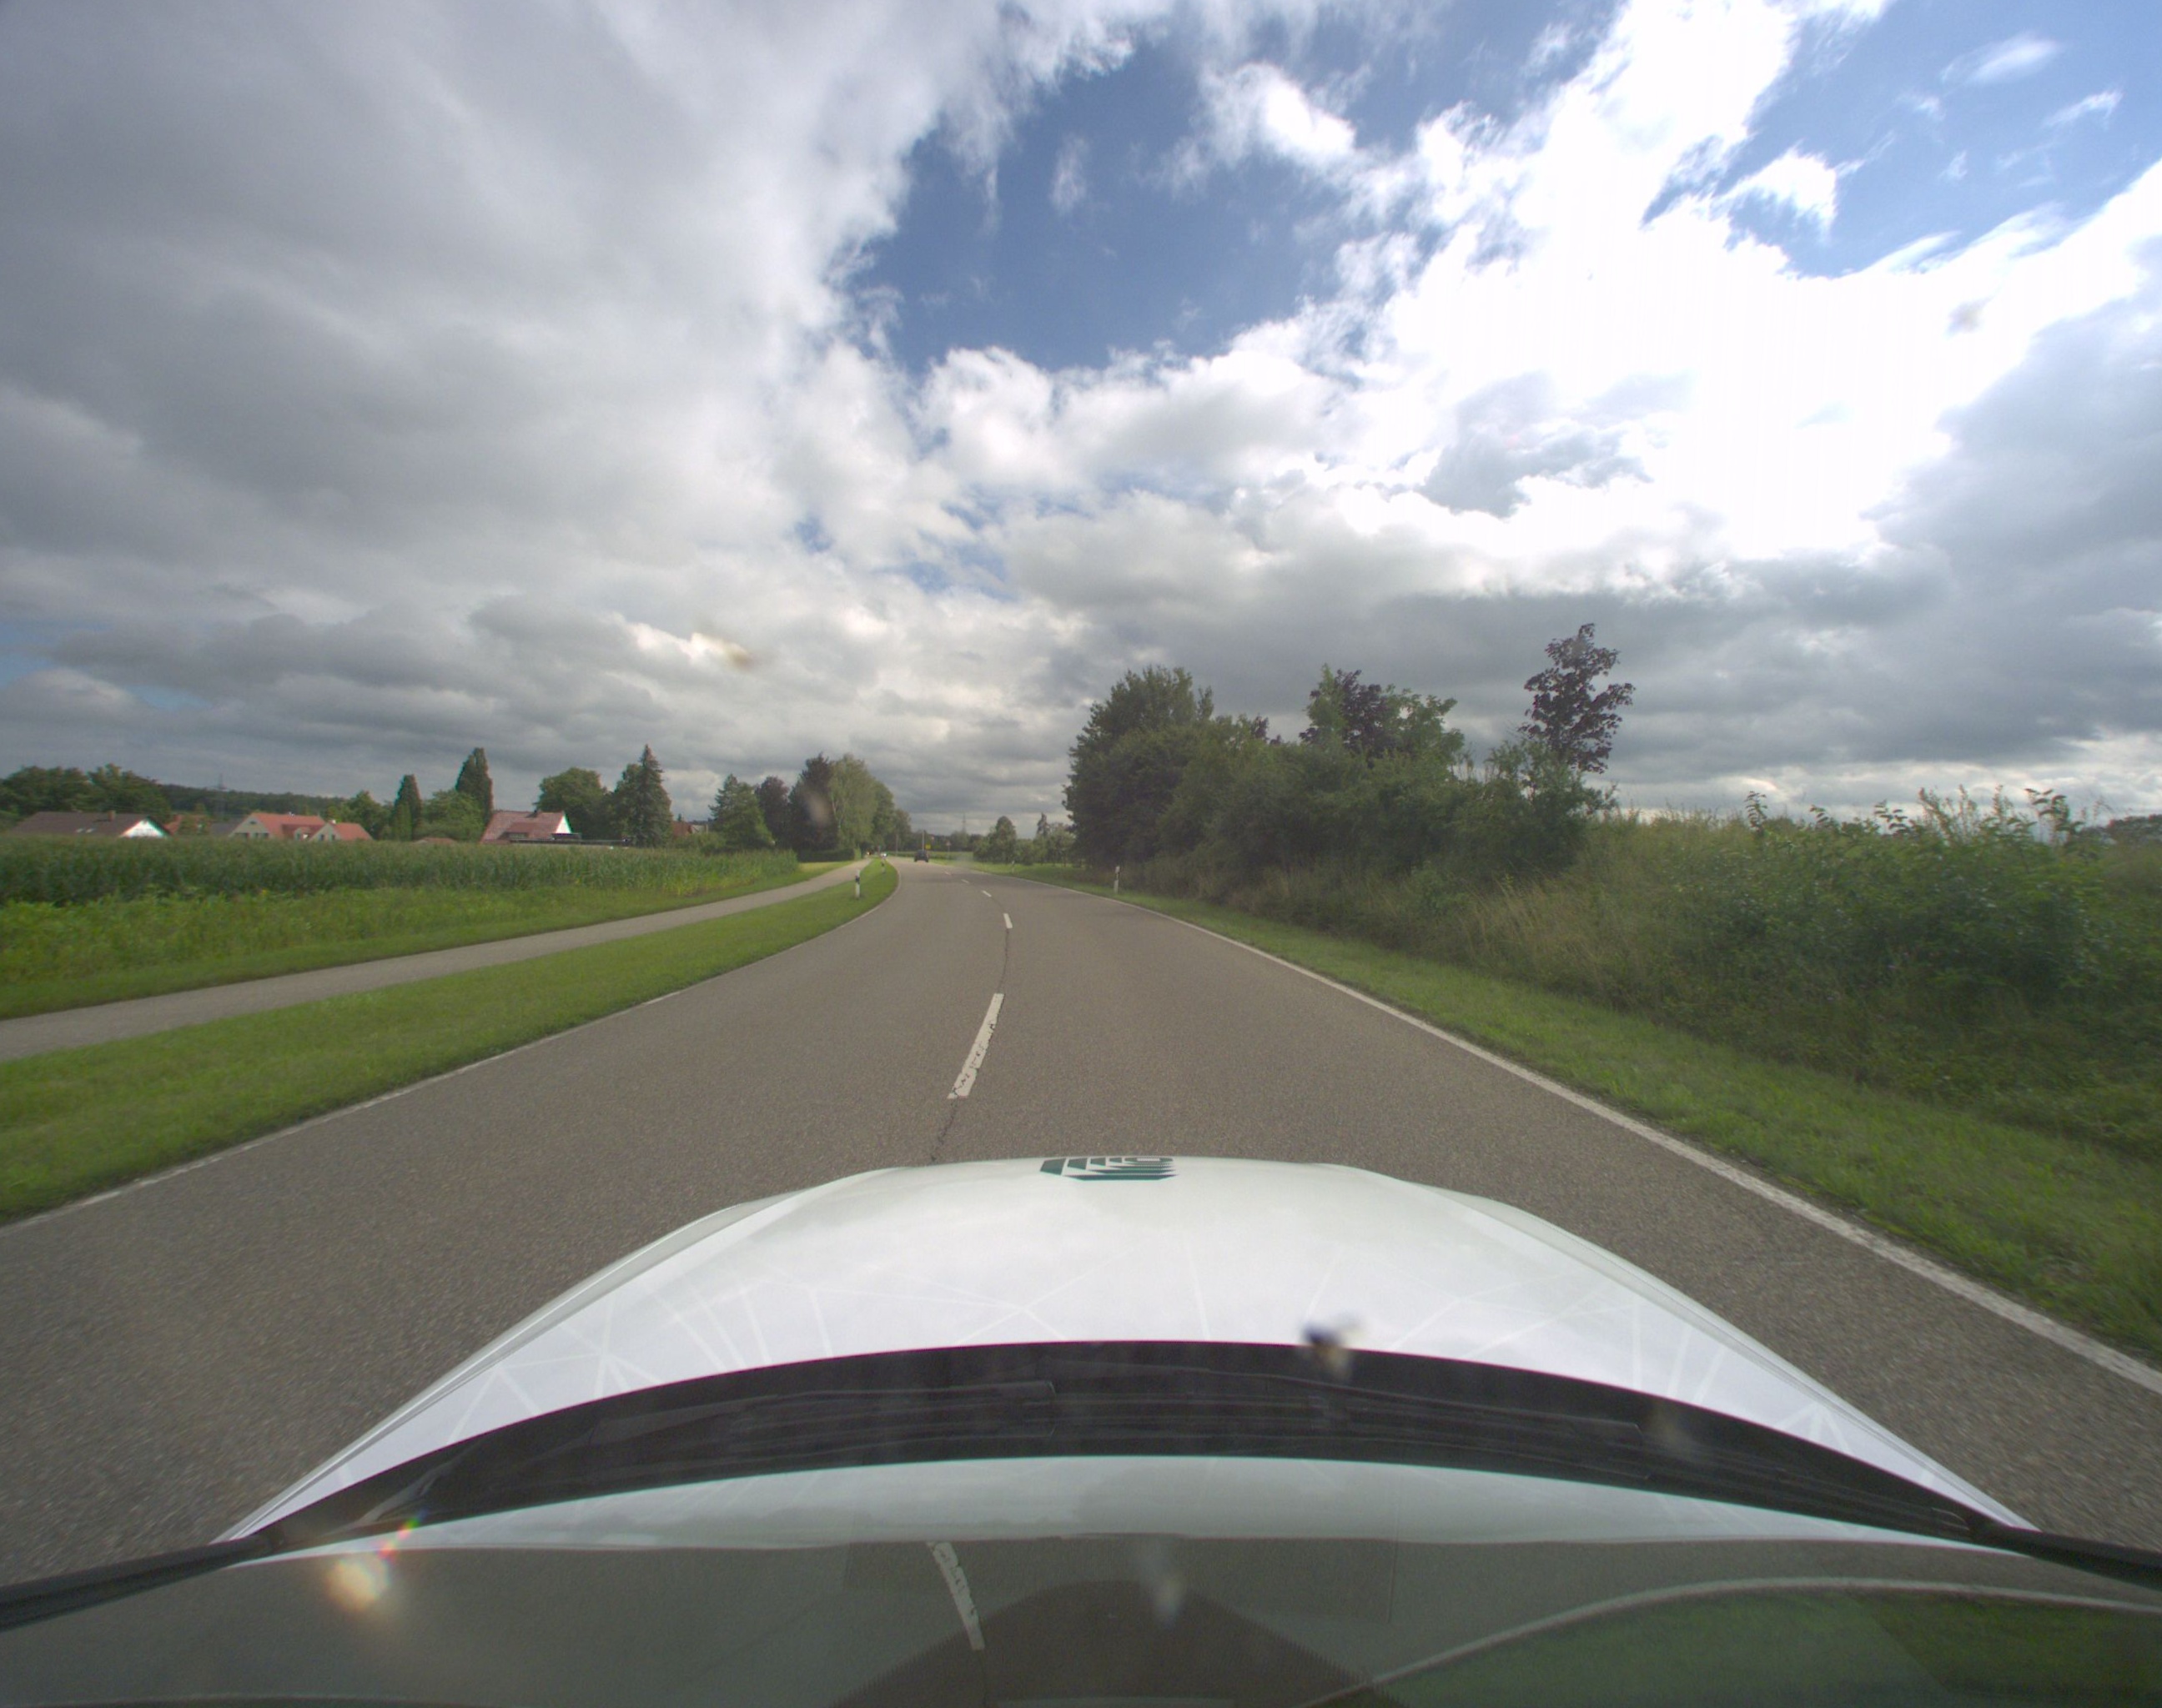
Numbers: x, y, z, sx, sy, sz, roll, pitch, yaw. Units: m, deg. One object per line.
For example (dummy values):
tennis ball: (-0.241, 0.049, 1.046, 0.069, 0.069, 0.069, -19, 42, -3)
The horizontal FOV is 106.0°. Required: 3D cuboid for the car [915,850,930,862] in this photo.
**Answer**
car: (-22.556, 0.323, 115.593, 1.909, 1.666, 3.981, 0, 0, -14)
